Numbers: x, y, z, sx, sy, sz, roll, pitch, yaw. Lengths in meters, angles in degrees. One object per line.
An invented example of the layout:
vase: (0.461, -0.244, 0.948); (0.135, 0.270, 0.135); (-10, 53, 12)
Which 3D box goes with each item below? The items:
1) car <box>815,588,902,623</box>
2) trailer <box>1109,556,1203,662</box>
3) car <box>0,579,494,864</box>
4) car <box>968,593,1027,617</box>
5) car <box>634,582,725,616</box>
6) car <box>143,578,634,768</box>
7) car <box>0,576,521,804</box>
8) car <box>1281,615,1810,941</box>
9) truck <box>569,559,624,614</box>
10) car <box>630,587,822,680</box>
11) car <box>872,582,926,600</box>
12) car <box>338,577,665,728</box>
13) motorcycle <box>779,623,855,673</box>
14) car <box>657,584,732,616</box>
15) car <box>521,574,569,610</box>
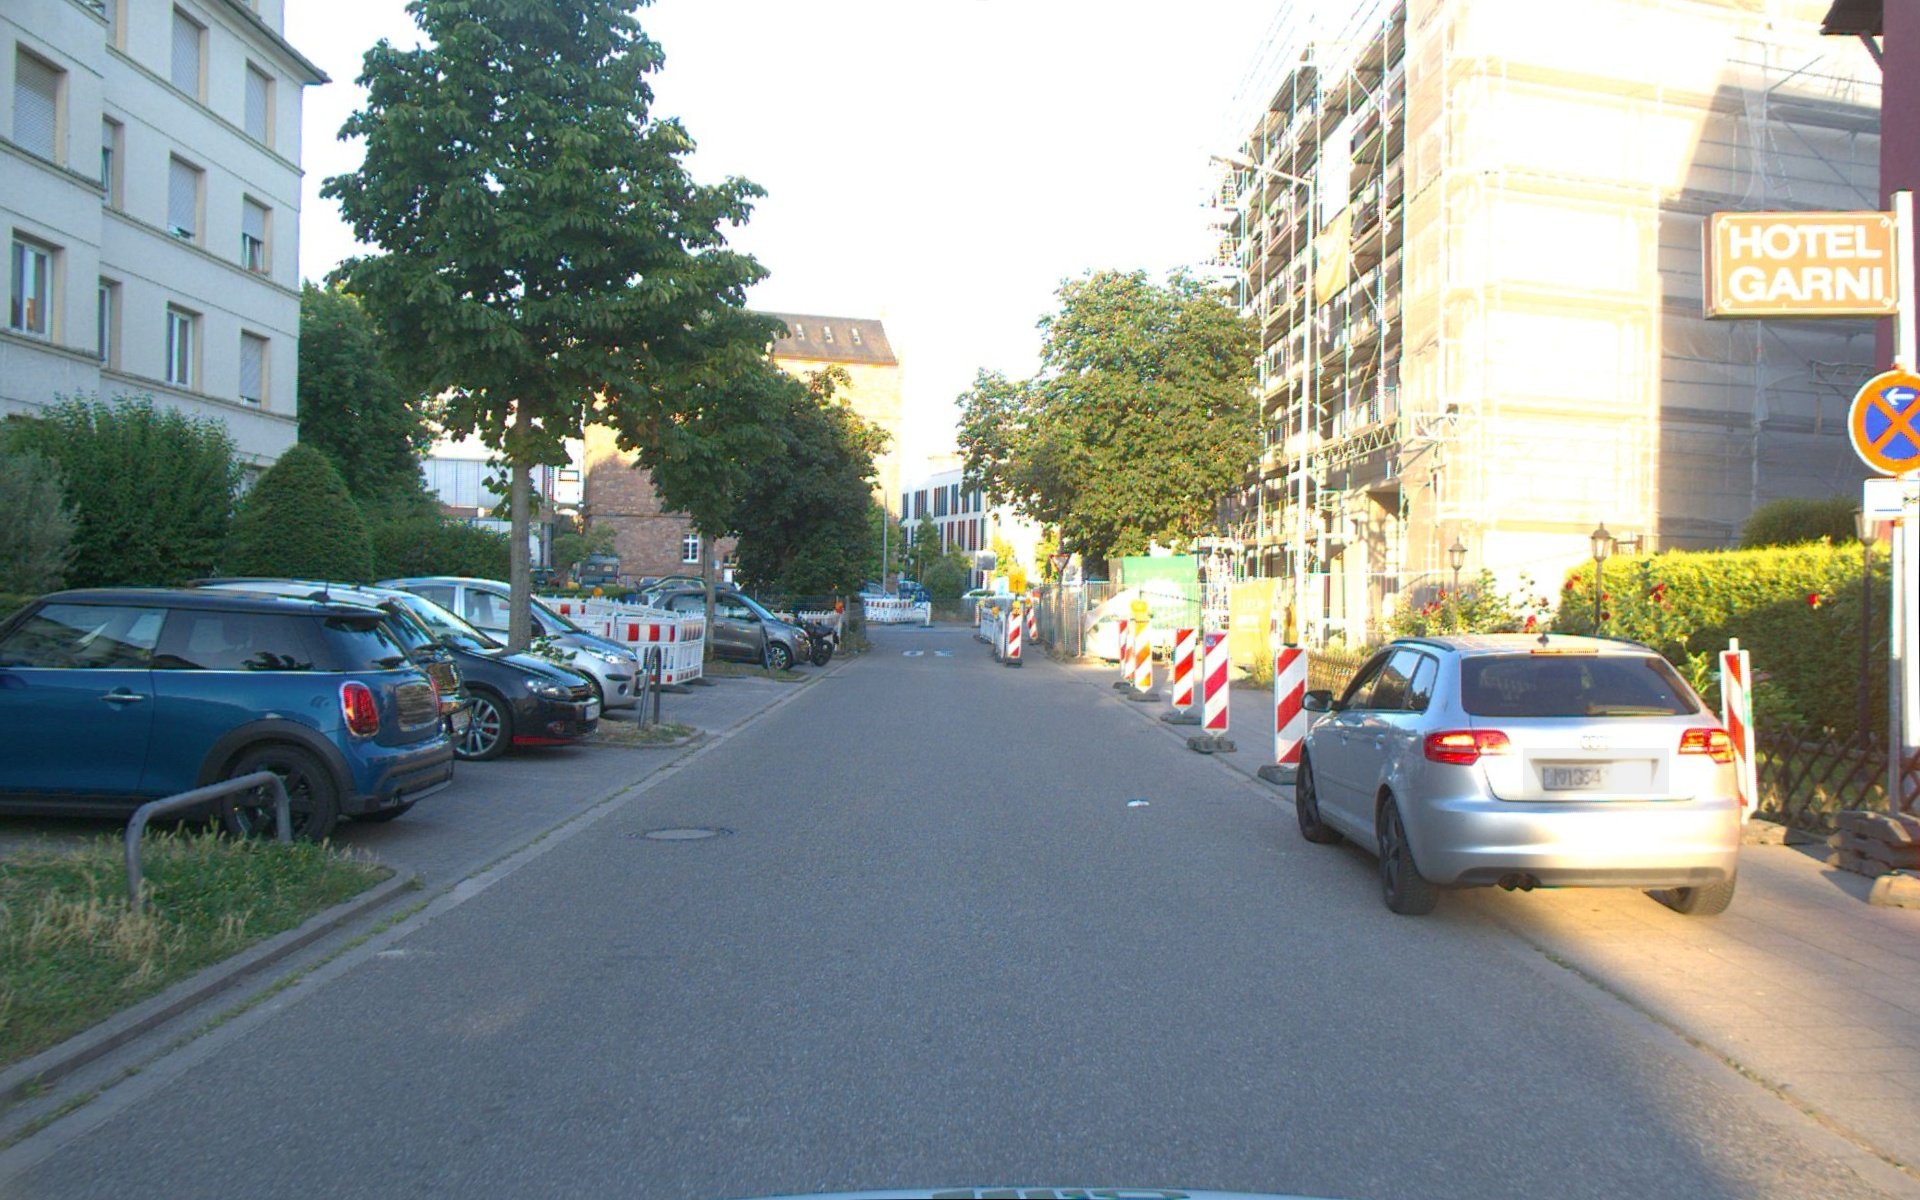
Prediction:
car: (-5.278, 0.276, 85.693); (4.205, 1.738, 1.693); (1, 0, -20)
trailer: (5.058, 0.200, 43.145); (1.952, 2.584, 4.186); (1, 0, 0)
car: (-4.894, 0.650, 9.949); (3.601, 1.470, 1.728); (2, -1, 1)
car: (2.595, 0.346, 113.400); (3.687, 1.631, 1.676); (1, 0, -22)
car: (-14.535, -0.058, 85.628); (4.510, 1.666, 1.568); (1, 0, -17)
car: (-5.205, 0.652, 15.410); (3.895, 1.515, 1.728); (2, -1, 1)
car: (-5.472, 0.650, 12.788); (3.601, 1.510, 1.728); (2, -1, 1)
car: (3.131, 0.848, 9.781); (1.739, 1.421, 4.108); (1, 0, 1)
truck: (-18.438, -0.717, 83.673); (2.297, 2.662, 4.950); (1, 1, -17)
car: (-4.681, 0.652, 33.428); (3.550, 1.584, 1.693); (4, 0, -1)
car: (-4.867, -0.725, 131.907); (3.927, 1.336, 1.867); (1, 0, -19)
car: (-5.387, 0.612, 19.778); (3.406, 1.593, 1.727); (2, -1, -4)
motorcycle: (-3.186, 1.079, 37.068); (0.527, 1.038, 2.208); (4, 0, 28)
car: (-13.423, -0.006, 83.621); (3.573, 1.530, 1.630); (1, 0, -17)
car: (-20.820, -0.402, 82.882); (1.964, 1.722, 3.977); (1, 1, -20)
